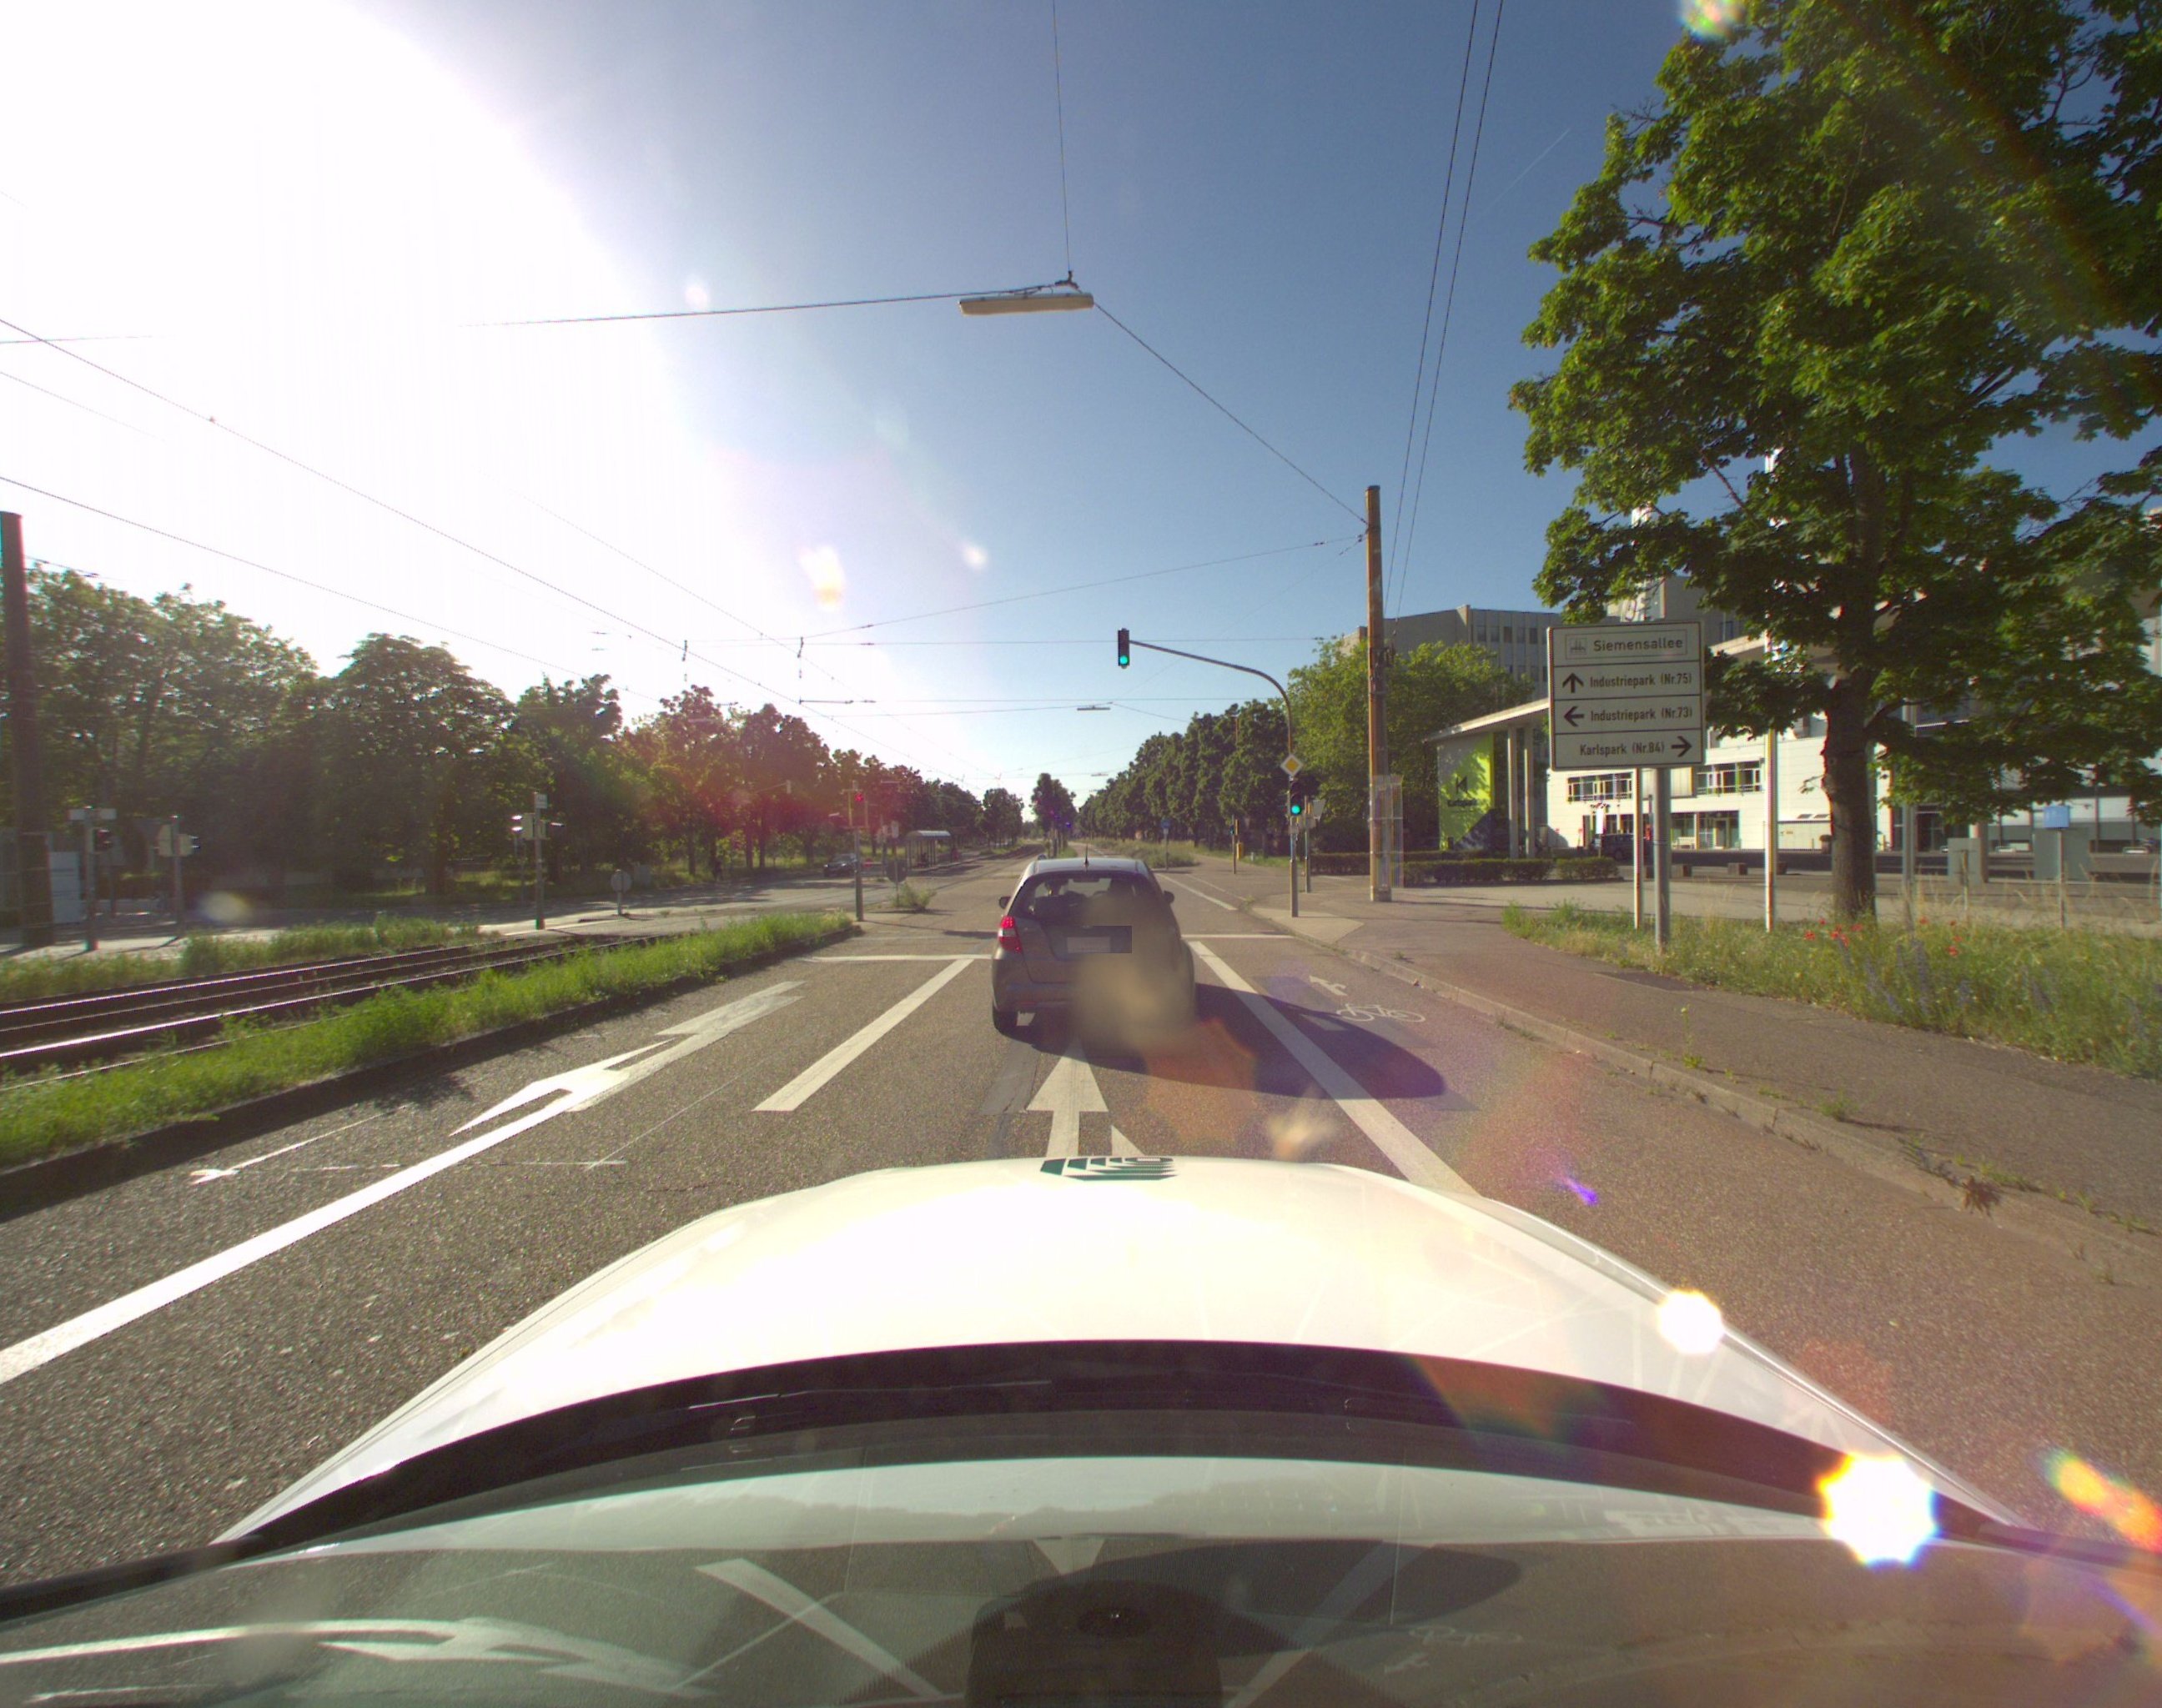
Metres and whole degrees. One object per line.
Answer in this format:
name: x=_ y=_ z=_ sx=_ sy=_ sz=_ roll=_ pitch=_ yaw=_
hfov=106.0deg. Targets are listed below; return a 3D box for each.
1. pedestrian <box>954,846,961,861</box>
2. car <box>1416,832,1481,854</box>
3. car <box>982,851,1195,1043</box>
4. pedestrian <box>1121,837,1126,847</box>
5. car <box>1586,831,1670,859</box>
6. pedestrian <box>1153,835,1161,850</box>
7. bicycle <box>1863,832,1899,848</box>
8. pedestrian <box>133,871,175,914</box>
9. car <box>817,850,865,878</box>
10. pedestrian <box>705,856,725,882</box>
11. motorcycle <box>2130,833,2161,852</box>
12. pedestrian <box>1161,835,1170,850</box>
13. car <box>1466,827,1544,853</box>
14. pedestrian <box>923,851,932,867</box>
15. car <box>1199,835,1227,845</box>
pedestrian: x=-12.261 y=-0.024 z=80.577 sx=0.542 sy=1.447 sz=0.559 roll=-2 pitch=0 yaw=1
car: x=30.050 y=-0.910 z=66.663 sx=4.448 sy=1.686 sz=1.892 roll=-2 pitch=1 yaw=-4
car: x=0.115 y=0.751 z=8.410 sx=1.694 sy=1.524 sz=3.711 roll=-1 pitch=0 yaw=2
pedestrian: x=7.588 y=-2.127 z=145.972 sx=0.723 sy=1.690 sz=0.821 roll=-1 pitch=0 yaw=-1
car: x=33.324 y=-0.558 z=49.641 sx=3.984 sy=1.578 sz=1.949 roll=-1 pitch=0 yaw=-8
pedestrian: x=9.671 y=-1.449 z=104.238 sx=0.880 sy=1.884 sz=0.875 roll=-2 pitch=1 yaw=-2
bicycle: x=52.274 y=-0.891 z=53.242 sx=0.565 sy=1.004 sz=1.614 roll=-2 pitch=1 yaw=-13
pedestrian: x=-40.126 y=1.668 z=35.264 sx=0.943 sy=1.787 sz=0.824 roll=-2 pitch=1 yaw=15
car: x=-17.849 y=0.692 z=60.879 sx=2.087 sy=1.810 sz=4.792 roll=-4 pitch=1 yaw=0
pedestrian: x=-24.671 y=1.010 z=54.899 sx=0.751 sy=1.734 sz=0.943 roll=-1 pitch=1 yaw=30
motorcycle: x=54.665 y=-0.582 z=41.255 sx=0.652 sy=0.947 sz=1.727 roll=-2 pitch=1 yaw=-13
pedestrian: x=10.806 y=-1.462 z=104.240 sx=0.880 sy=1.884 sz=0.875 roll=-2 pitch=1 yaw=-2
car: x=31.112 y=-1.036 z=59.770 sx=4.888 sy=1.757 sz=2.082 roll=-2 pitch=1 yaw=-14
pedestrian: x=-12.440 y=0.399 z=66.008 sx=0.562 sy=1.257 sz=0.581 roll=-4 pitch=0 yaw=1
car: x=23.357 y=-2.511 z=144.243 sx=4.623 sy=1.555 sz=1.997 roll=-2 pitch=1 yaw=-5
